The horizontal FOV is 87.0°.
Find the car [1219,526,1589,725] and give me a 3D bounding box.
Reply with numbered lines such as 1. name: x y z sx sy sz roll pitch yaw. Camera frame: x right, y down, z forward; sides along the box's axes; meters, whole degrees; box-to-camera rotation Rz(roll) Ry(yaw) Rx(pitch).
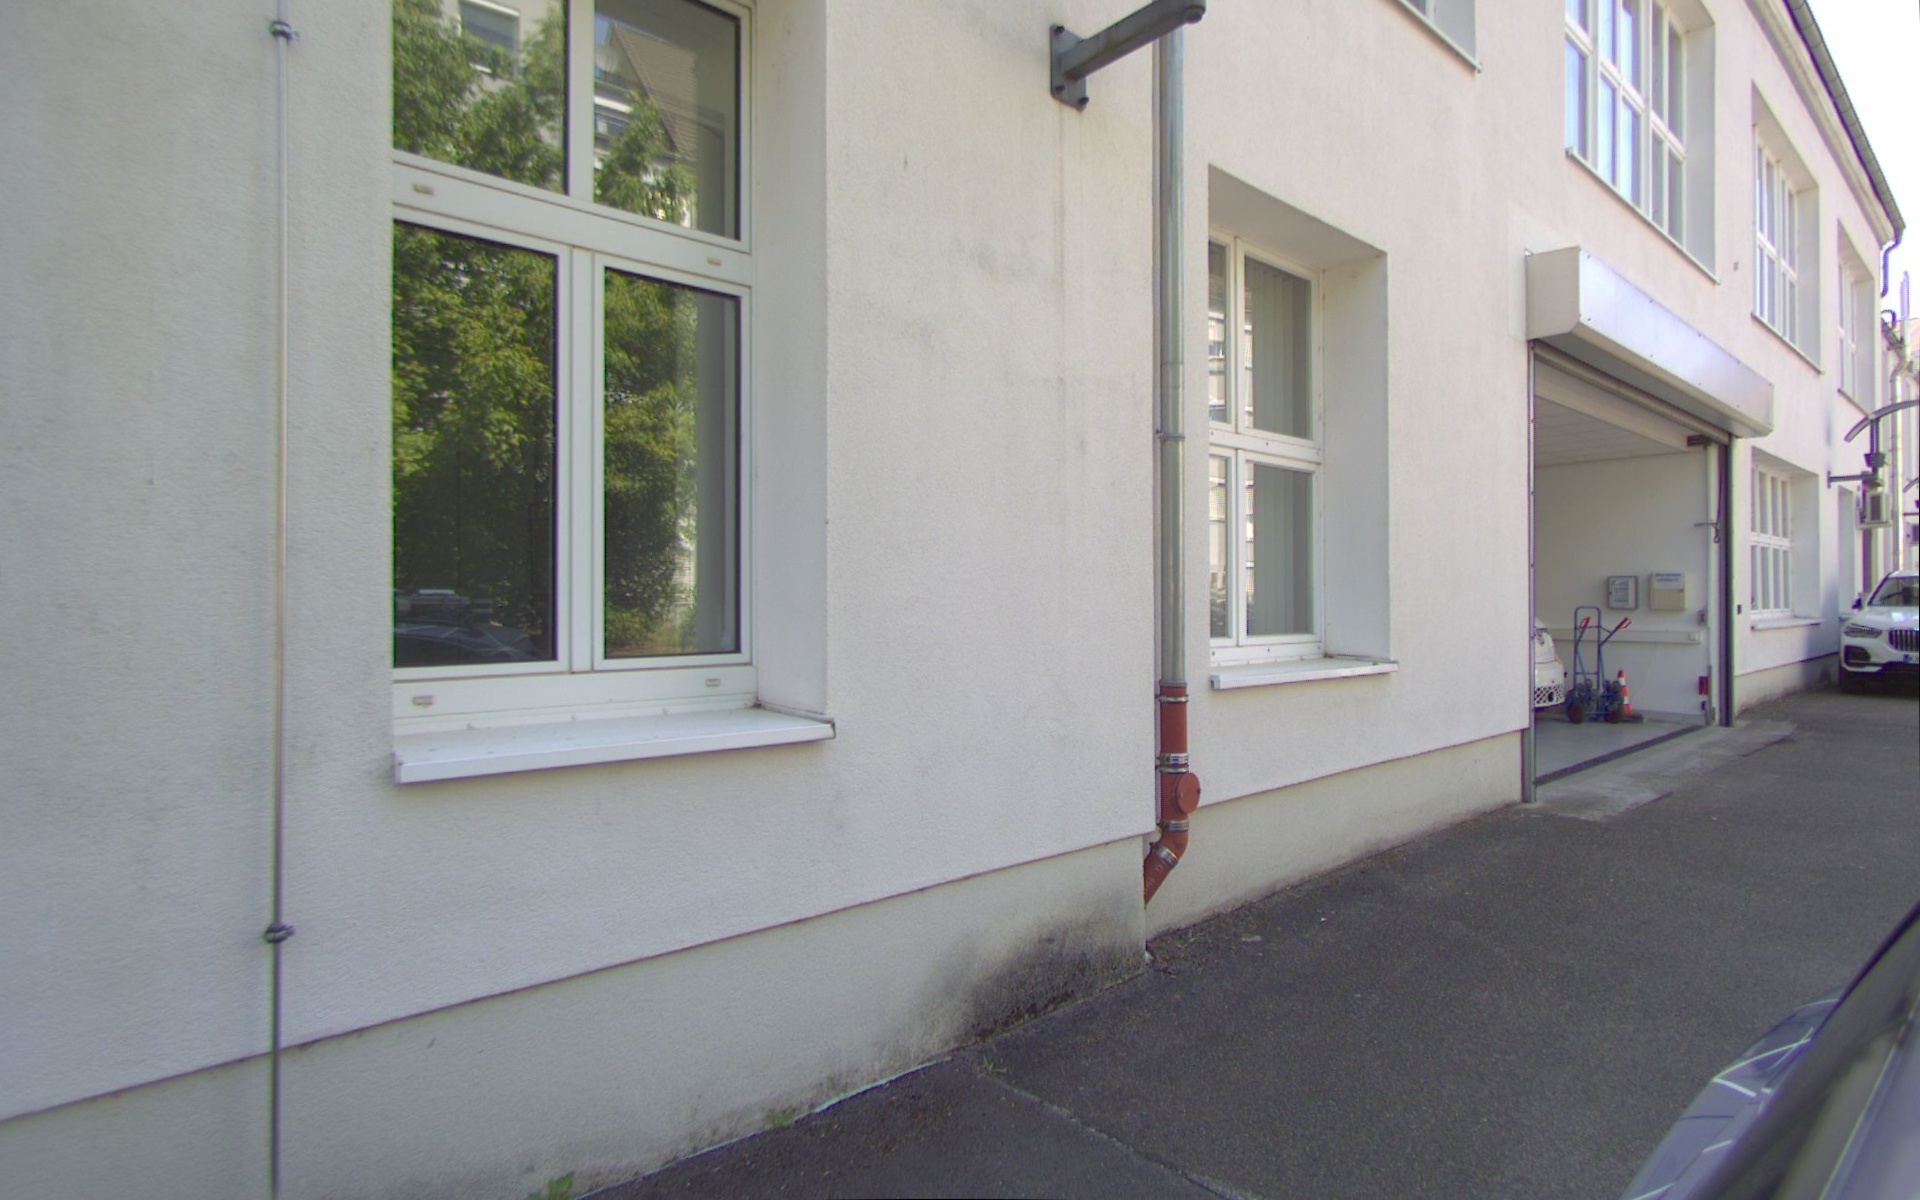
1. car: 5.231 0.242 12.368 1.623 2.039 3.838 -1 1 -37

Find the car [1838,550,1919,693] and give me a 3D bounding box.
1. car: 14.077 0.231 14.211 4.645 1.825 2.009 -1 1 -41
